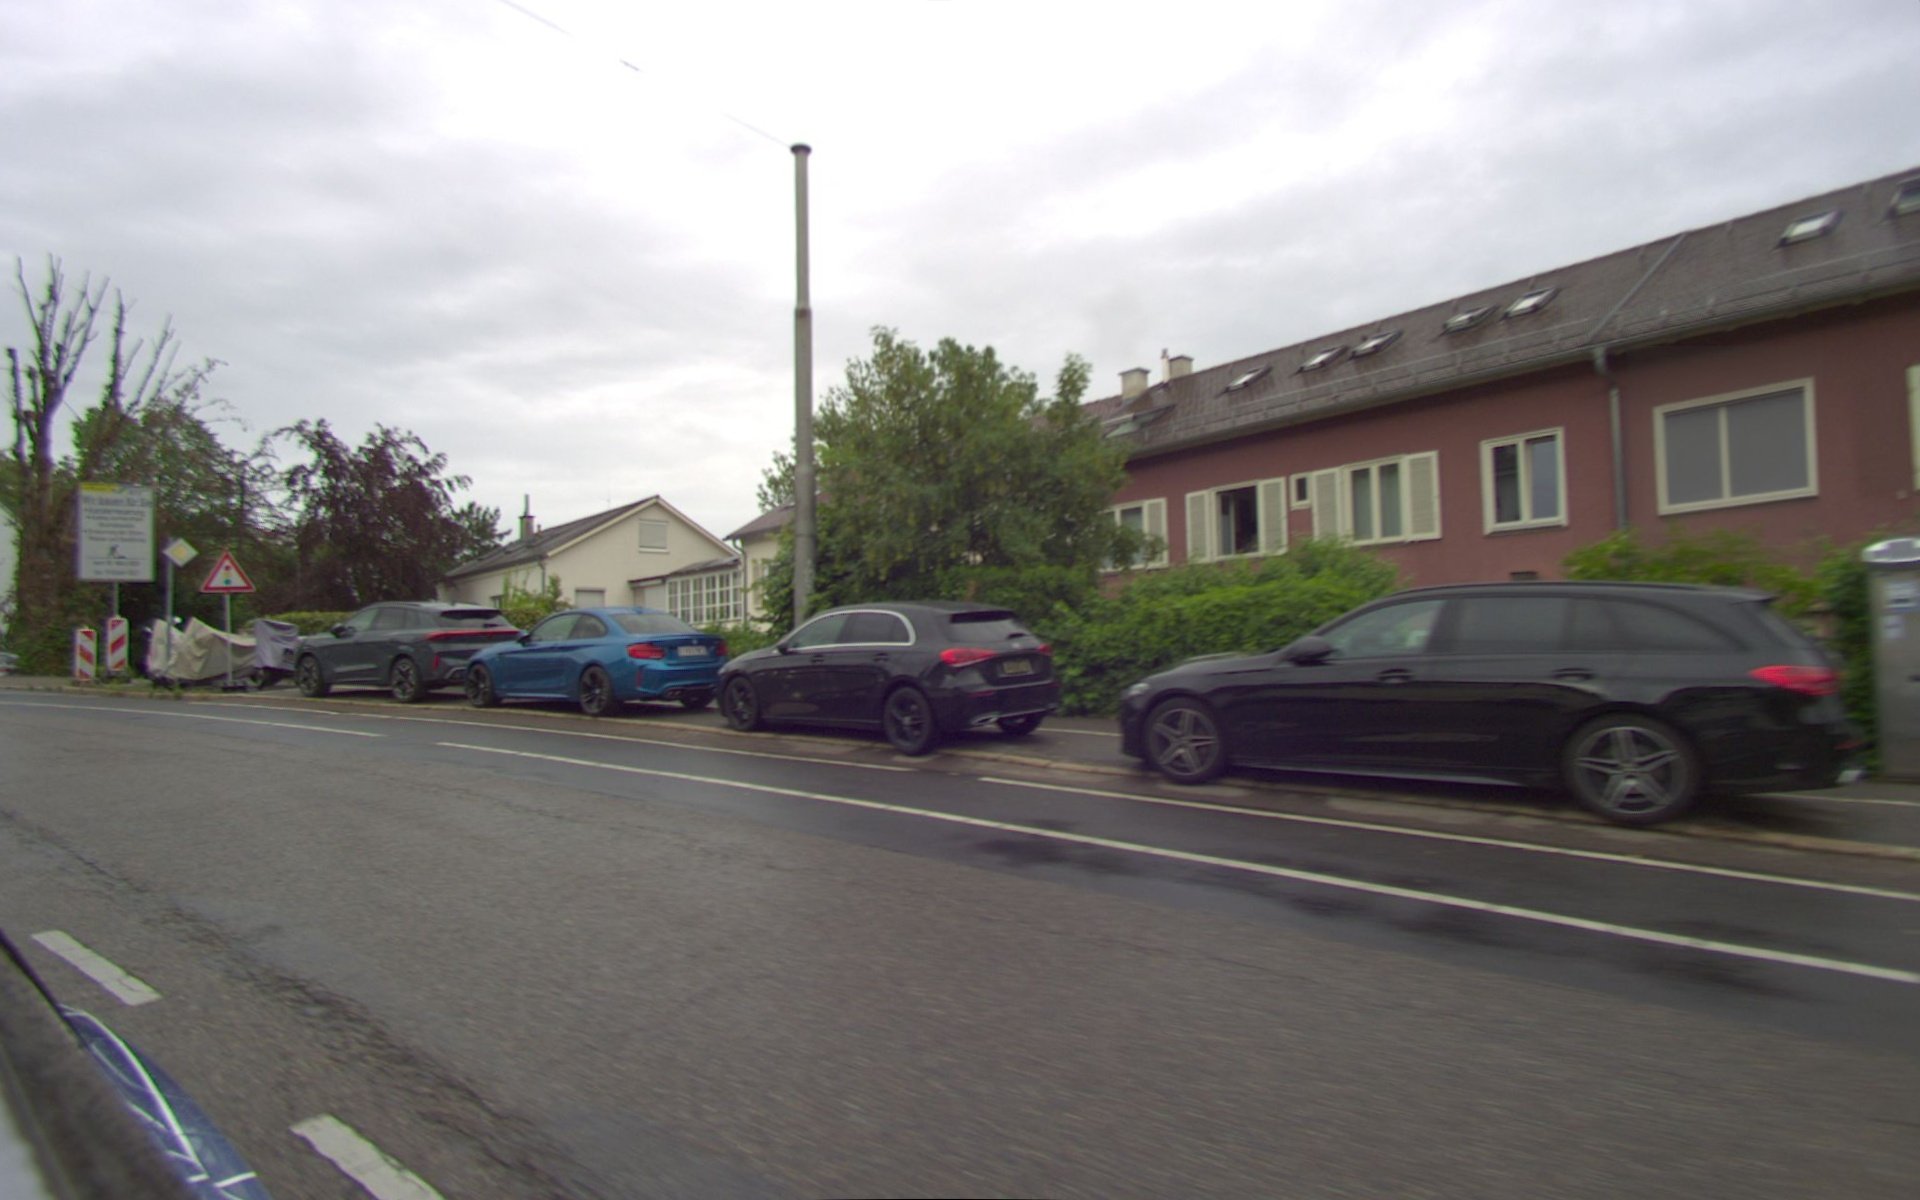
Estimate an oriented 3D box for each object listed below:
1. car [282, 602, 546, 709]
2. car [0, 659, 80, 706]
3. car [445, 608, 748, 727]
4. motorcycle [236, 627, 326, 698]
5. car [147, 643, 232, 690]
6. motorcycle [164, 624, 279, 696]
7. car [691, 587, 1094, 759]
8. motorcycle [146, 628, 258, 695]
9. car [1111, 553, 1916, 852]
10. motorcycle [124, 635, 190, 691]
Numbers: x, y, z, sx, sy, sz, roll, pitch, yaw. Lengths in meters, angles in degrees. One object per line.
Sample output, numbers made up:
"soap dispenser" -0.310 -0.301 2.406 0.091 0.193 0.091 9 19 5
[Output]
"car" -9.229 0.885 17.043 4.369 1.589 1.909 -2 -1 30
"car" -32.938 2.817 35.099 1.811 1.505 4.091 3 -4 -12
"car" -5.166 0.879 14.146 4.461 1.415 1.685 -2 -1 34
"motorcycle" -13.025 1.168 19.477 0.567 1.281 1.908 -1 -1 -4
"car" -23.667 2.011 31.045 1.532 1.337 3.565 6 -6 -45
"motorcycle" -14.407 1.154 19.797 1.777 1.313 0.615 -1 -1 -34
"car" -0.918 0.679 10.991 4.523 1.488 1.788 -2 -1 44
"motorcycle" -15.507 1.232 20.761 0.508 1.289 1.790 -2 -2 27
"car" 3.498 0.556 7.141 4.516 1.488 1.791 -1 -1 38
"motorcycle" -17.041 1.341 21.460 1.917 1.149 0.505 -2 -5 35
